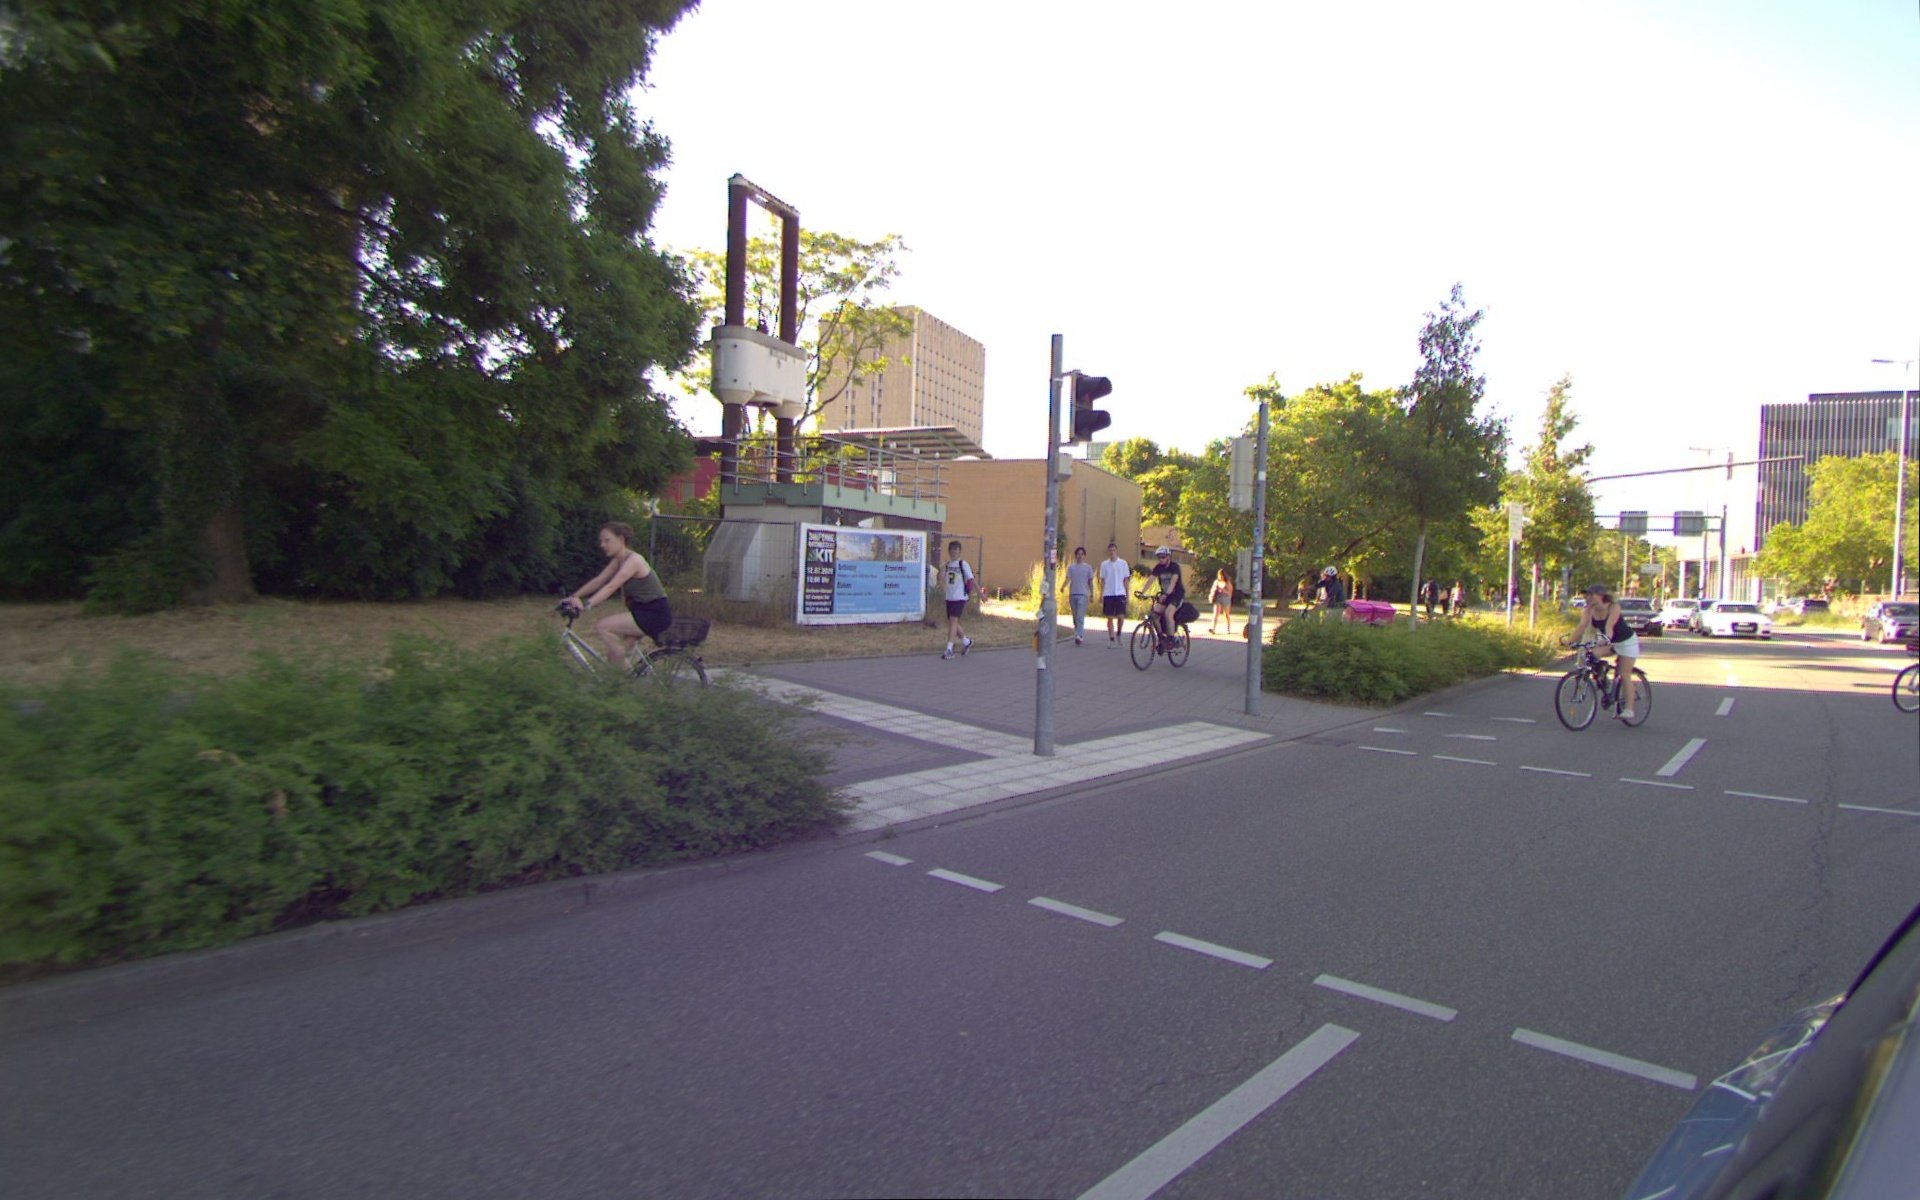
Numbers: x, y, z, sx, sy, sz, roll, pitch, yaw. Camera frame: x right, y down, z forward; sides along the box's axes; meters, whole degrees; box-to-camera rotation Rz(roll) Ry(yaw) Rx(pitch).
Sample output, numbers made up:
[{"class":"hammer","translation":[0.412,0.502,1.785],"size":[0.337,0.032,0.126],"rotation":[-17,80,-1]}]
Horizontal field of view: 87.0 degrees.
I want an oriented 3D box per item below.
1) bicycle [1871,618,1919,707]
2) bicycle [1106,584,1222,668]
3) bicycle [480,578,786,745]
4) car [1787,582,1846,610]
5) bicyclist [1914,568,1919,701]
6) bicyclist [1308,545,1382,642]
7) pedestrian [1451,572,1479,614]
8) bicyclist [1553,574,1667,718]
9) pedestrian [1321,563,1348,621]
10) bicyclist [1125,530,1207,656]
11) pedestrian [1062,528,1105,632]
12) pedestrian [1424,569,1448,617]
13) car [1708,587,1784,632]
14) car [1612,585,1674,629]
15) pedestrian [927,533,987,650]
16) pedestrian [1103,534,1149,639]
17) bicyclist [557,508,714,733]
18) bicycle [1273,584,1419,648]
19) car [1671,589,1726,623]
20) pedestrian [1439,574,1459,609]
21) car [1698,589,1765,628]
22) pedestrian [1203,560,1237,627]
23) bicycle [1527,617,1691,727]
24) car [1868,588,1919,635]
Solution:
[{"class":"bicycle","translation":[13.483,0.827,13.537],"size":[2.025,1.135,0.720],"rotation":[0,0,-4]},{"class":"bicycle","translation":[3.179,0.358,15.594],"size":[0.777,1.170,2.259],"rotation":[3,2,39]},{"class":"bicycle","translation":[-2.641,0.467,8.219],"size":[2.243,1.169,0.782],"rotation":[1,4,-25]},{"class":"car","translation":[55.041,-0.290,65.122],"size":[1.983,1.705,4.581],"rotation":[3,2,30]},{"class":"bicyclist","translation":[13.508,0.468,13.531],"size":[0.833,1.810,0.718],"rotation":[0,0,-4]},{"class":"bicyclist","translation":[7.610,-0.140,20.043],"size":[1.072,1.856,0.781],"rotation":[2,1,-1]},{"class":"pedestrian","translation":[22.320,-0.327,44.747],"size":[1.008,1.771,0.843],"rotation":[3,2,24]},{"class":"bicyclist","translation":[7.355,0.507,11.464],"size":[0.832,1.568,0.718],"rotation":[3,-1,-26]},{"class":"pedestrian","translation":[11.583,-0.257,31.272],"size":[0.669,1.725,0.870],"rotation":[2,2,24]},{"class":"bicyclist","translation":[3.170,-0.126,15.559],"size":[0.777,1.853,1.078],"rotation":[3,2,39]},{"class":"pedestrian","translation":[2.295,-0.382,18.852],"size":[0.610,1.892,0.578],"rotation":[1,1,-10]},{"class":"pedestrian","translation":[17.501,-0.270,37.222],"size":[0.706,1.734,0.726],"rotation":[2,2,29]},{"class":"car","translation":[29.843,0.316,38.555],"size":[1.790,1.537,4.381],"rotation":[3,2,32]},{"class":"car","translation":[26.381,0.241,39.172],"size":[1.790,1.537,3.954],"rotation":[3,2,32]},{"class":"pedestrian","translation":[-0.039,-0.137,15.352],"size":[0.619,1.720,0.622],"rotation":[3,2,38]},{"class":"pedestrian","translation":[3.054,-0.247,18.642],"size":[0.610,1.892,0.578],"rotation":[1,1,-10]},{"class":"bicyclist","translation":[-2.642,0.135,8.201],"size":[1.070,1.697,0.782],"rotation":[2,4,-25]},{"class":"bicycle","translation":[7.621,0.305,20.055],"size":[2.531,1.170,0.781],"rotation":[2,1,-1]},{"class":"car","translation":[36.765,0.248,50.471],"size":[1.911,1.537,3.972],"rotation":[3,2,32]},{"class":"pedestrian","translation":[22.527,-0.411,46.644],"size":[0.755,1.562,0.840],"rotation":[3,2,24]},{"class":"car","translation":[33.838,0.323,44.493],"size":[1.911,1.537,3.972],"rotation":[3,2,32]},{"class":"pedestrian","translation":[6.335,-0.164,24.629],"size":[0.617,1.594,0.633],"rotation":[2,2,29]},{"class":"bicycle","translation":[7.365,0.777,11.475],"size":[1.830,1.135,0.721],"rotation":[0,0,-26]},{"class":"car","translation":[33.782,0.390,35.679],"size":[1.911,1.537,3.972],"rotation":[3,2,32]}]
